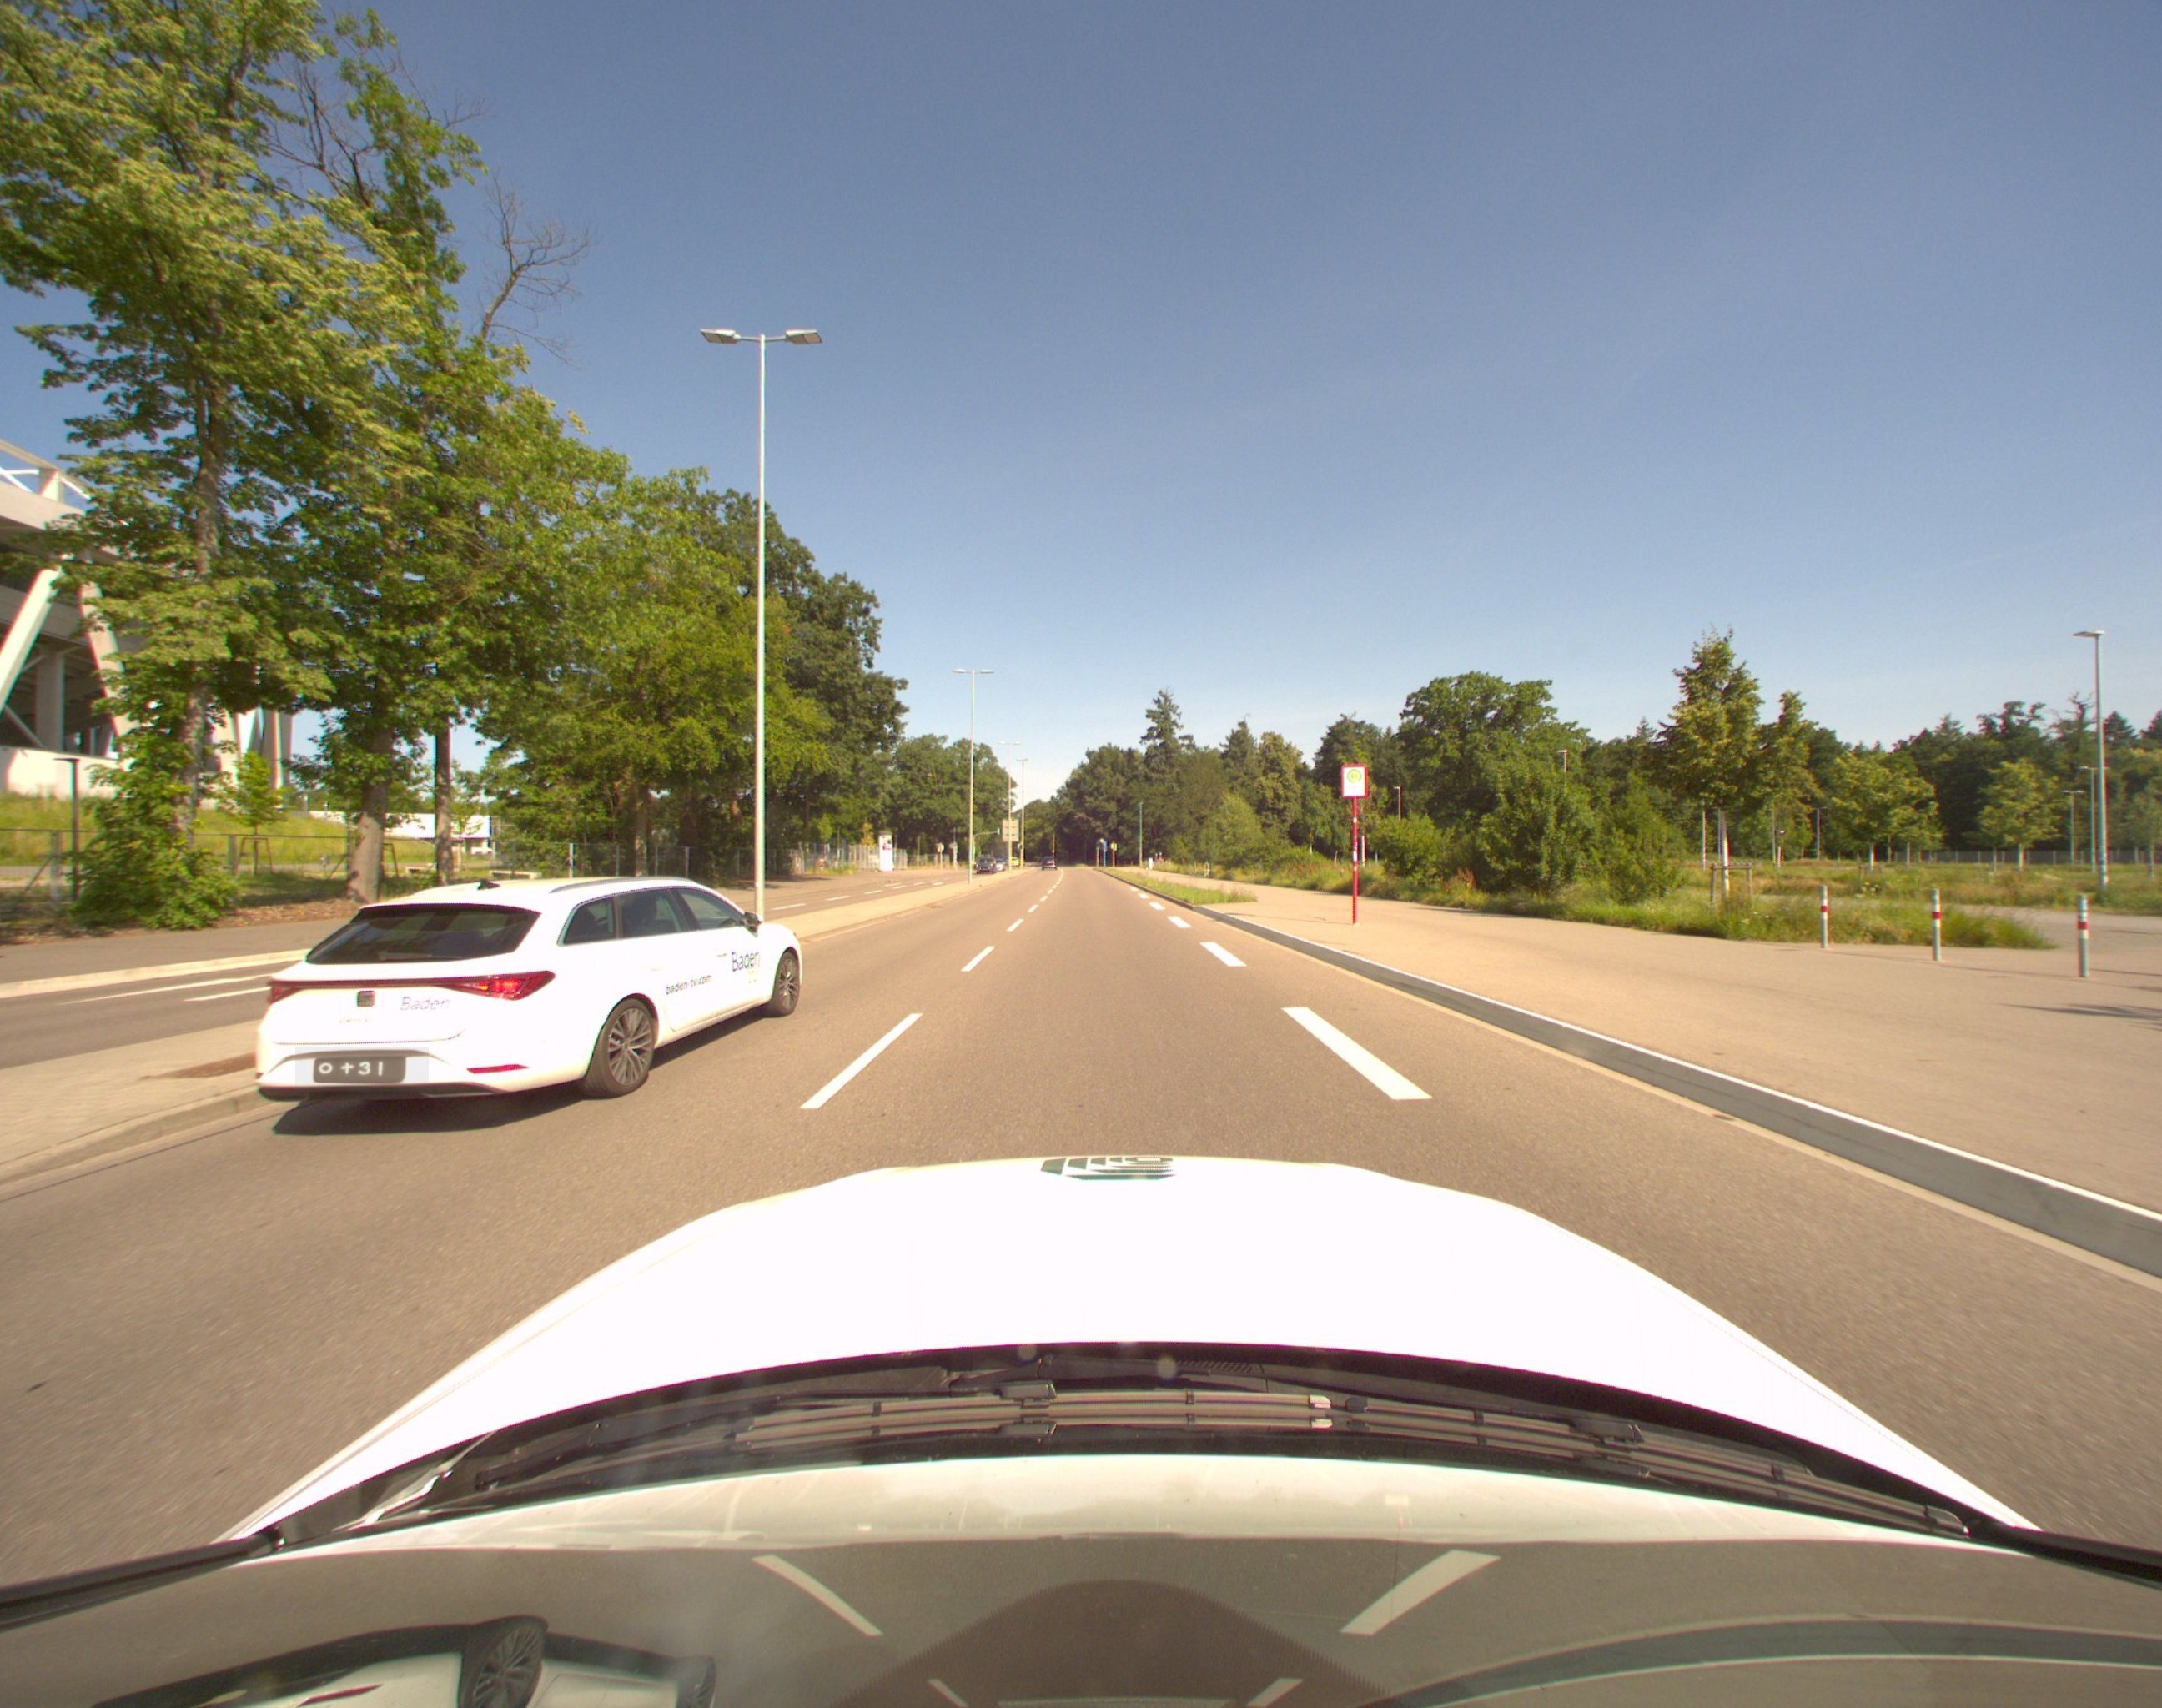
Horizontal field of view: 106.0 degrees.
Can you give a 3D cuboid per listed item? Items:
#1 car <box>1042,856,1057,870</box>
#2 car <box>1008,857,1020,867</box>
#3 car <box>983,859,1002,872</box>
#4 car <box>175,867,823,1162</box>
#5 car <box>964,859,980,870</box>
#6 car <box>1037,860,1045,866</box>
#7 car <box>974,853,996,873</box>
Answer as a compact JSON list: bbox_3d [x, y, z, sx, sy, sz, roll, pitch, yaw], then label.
[{"bbox_3d":[-3.755,1.084,97.141,1.683,1.544,4.145,-1,0,-2],"label":"car"},{"bbox_3d":[-11.032,1.360,134.216,1.842,1.618,3.995,1,0,-3],"label":"car"},{"bbox_3d":[-10.614,1.342,97.523,1.904,1.585,3.998,0,0,-1],"label":"car"},{"bbox_3d":[-3.795,0.877,6.614,1.718,1.427,4.722,-1,0,2],"label":"car"},{"bbox_3d":[-14.848,1.414,110.792,1.790,1.478,3.996,0,0,-3],"label":"car"},{"bbox_3d":[-9.933,2.326,202.414,1.937,1.420,4.286,0,0,-4],"label":"car"},{"bbox_3d":[-9.782,0.916,83.468,1.837,1.932,4.624,-1,0,-3],"label":"car"}]
